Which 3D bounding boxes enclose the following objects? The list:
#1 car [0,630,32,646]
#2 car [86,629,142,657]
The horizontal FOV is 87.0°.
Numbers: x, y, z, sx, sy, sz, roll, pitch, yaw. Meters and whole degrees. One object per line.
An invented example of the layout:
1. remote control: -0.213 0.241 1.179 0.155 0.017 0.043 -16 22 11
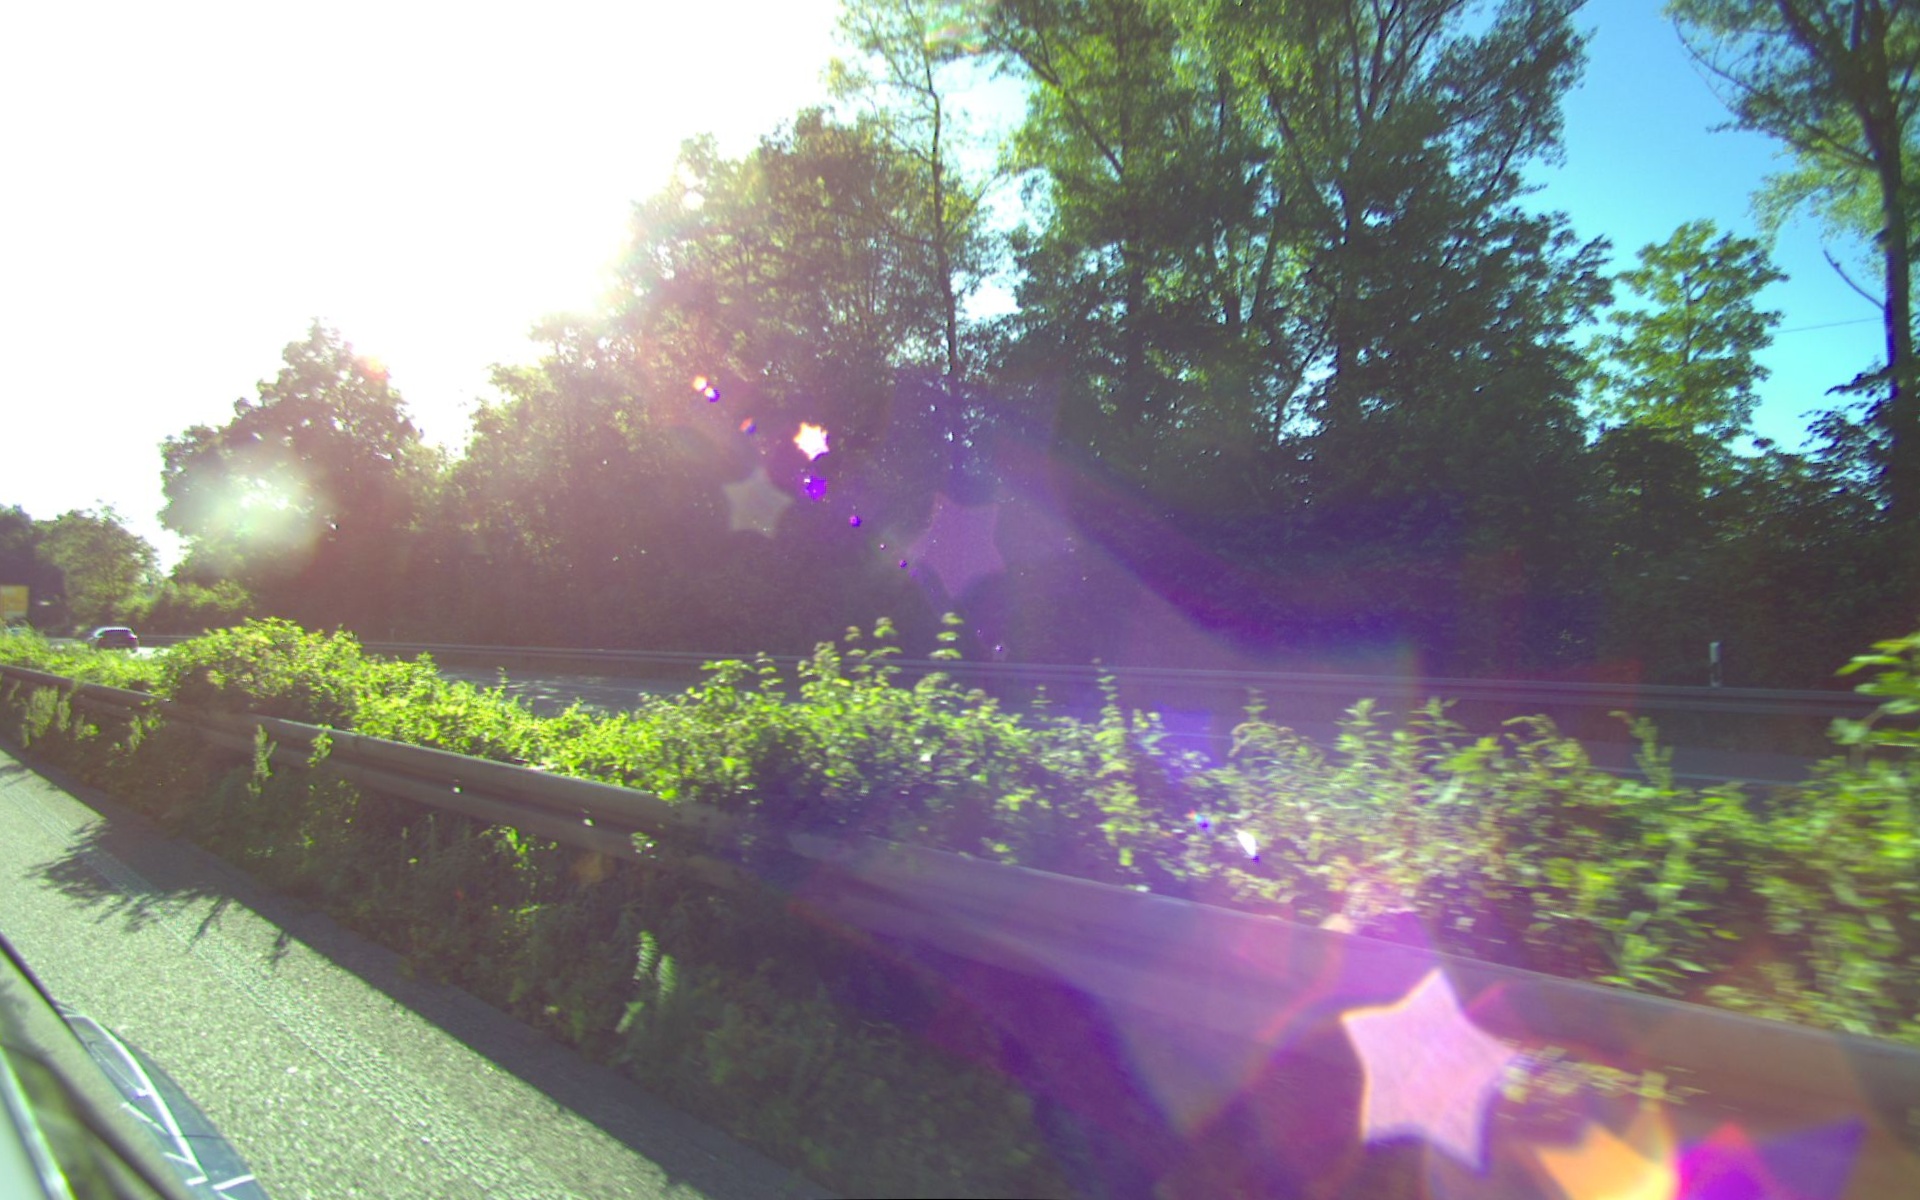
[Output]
1. car: -77.630 3.080 83.080 4.260 1.232 1.628 -1 -1 41
2. car: -47.265 2.397 56.501 4.553 1.419 1.715 -2 -1 41
